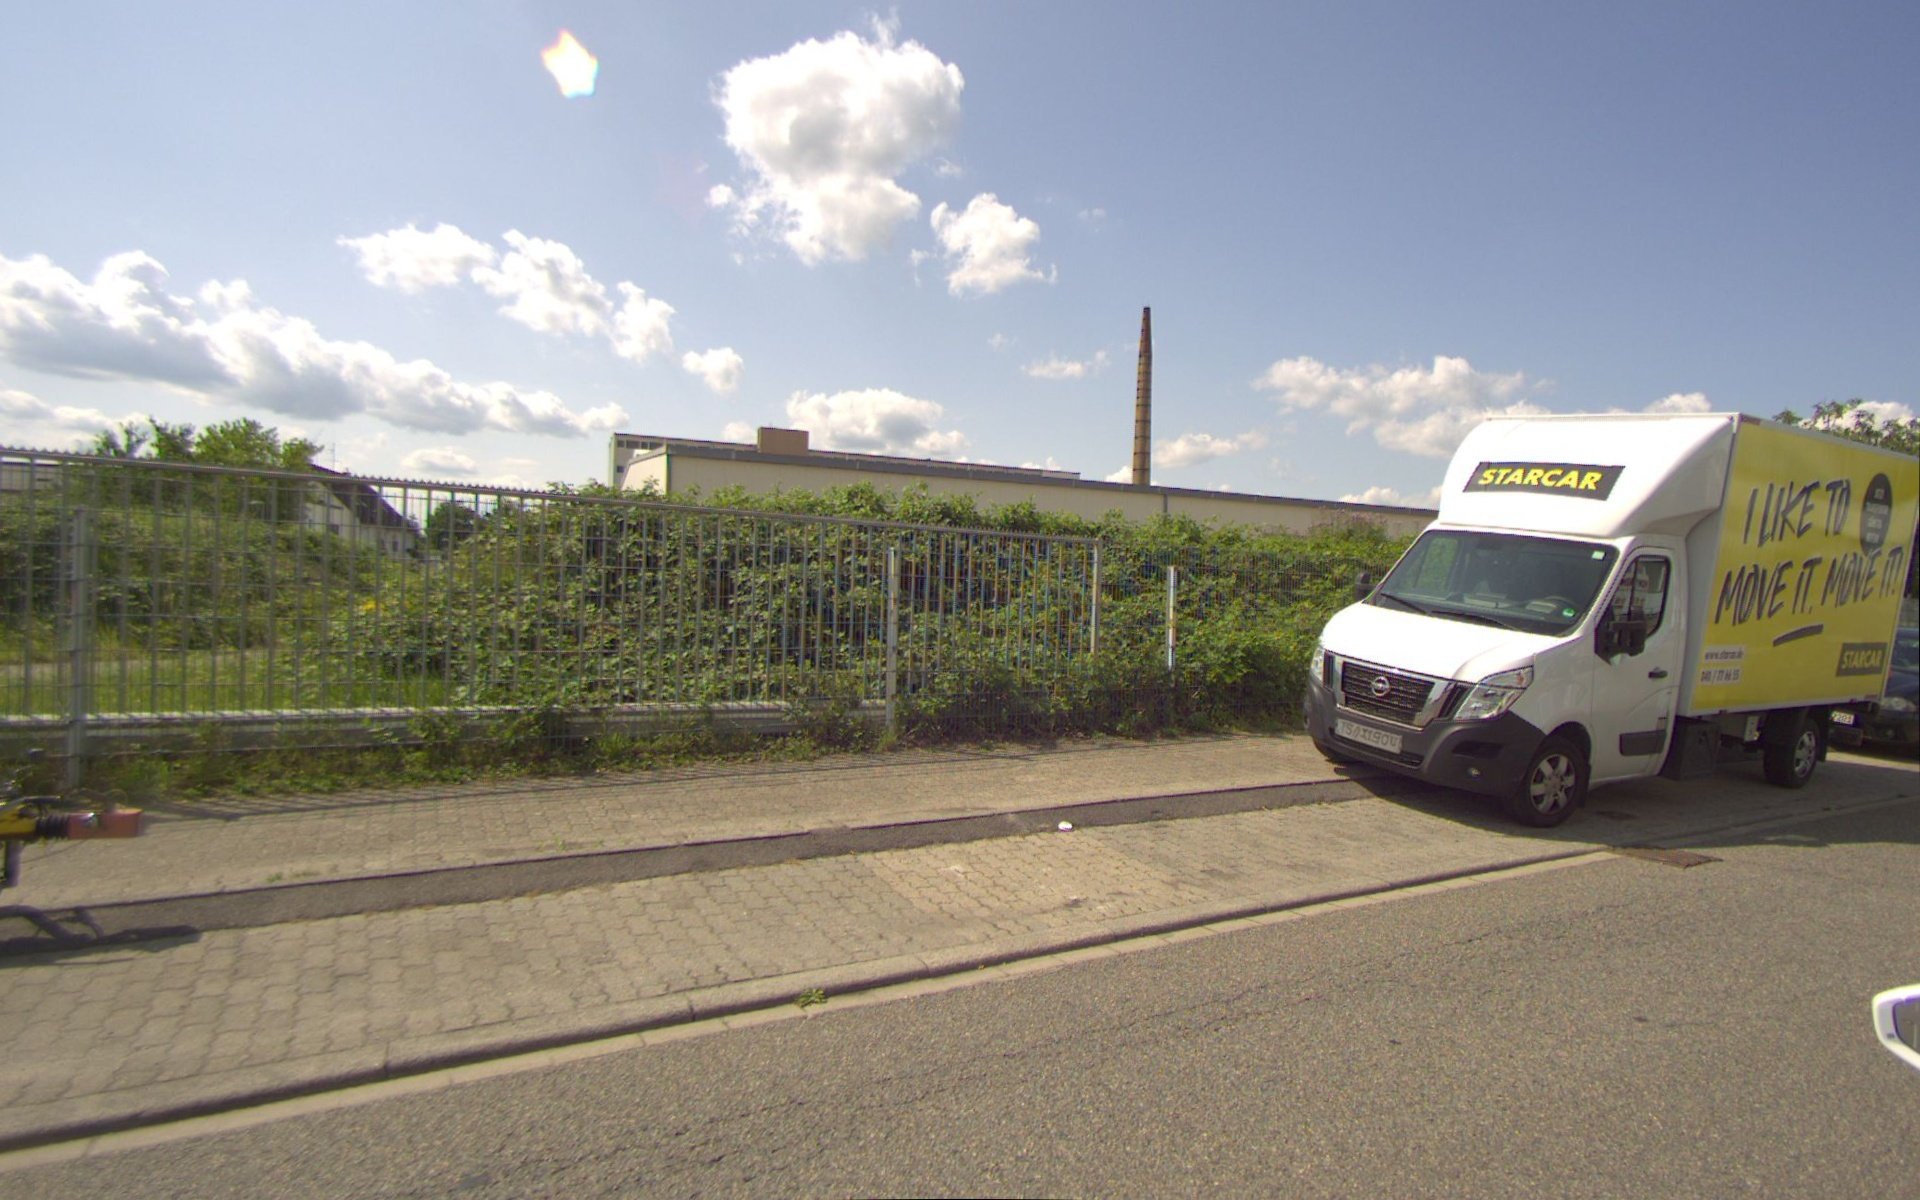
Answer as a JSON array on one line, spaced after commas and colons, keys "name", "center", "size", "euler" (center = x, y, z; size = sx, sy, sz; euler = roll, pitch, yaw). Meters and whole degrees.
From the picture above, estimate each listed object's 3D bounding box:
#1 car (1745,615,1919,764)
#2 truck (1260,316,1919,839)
[{"name": "car", "center": [11.920, 1.048, 12.777], "size": [3.781, 1.449, 1.611], "euler": [1, 6, -30]}, {"name": "truck", "center": [6.137, -0.177, 9.260], "size": [6.827, 3.408, 2.238], "euler": [1, 5, -31]}]
